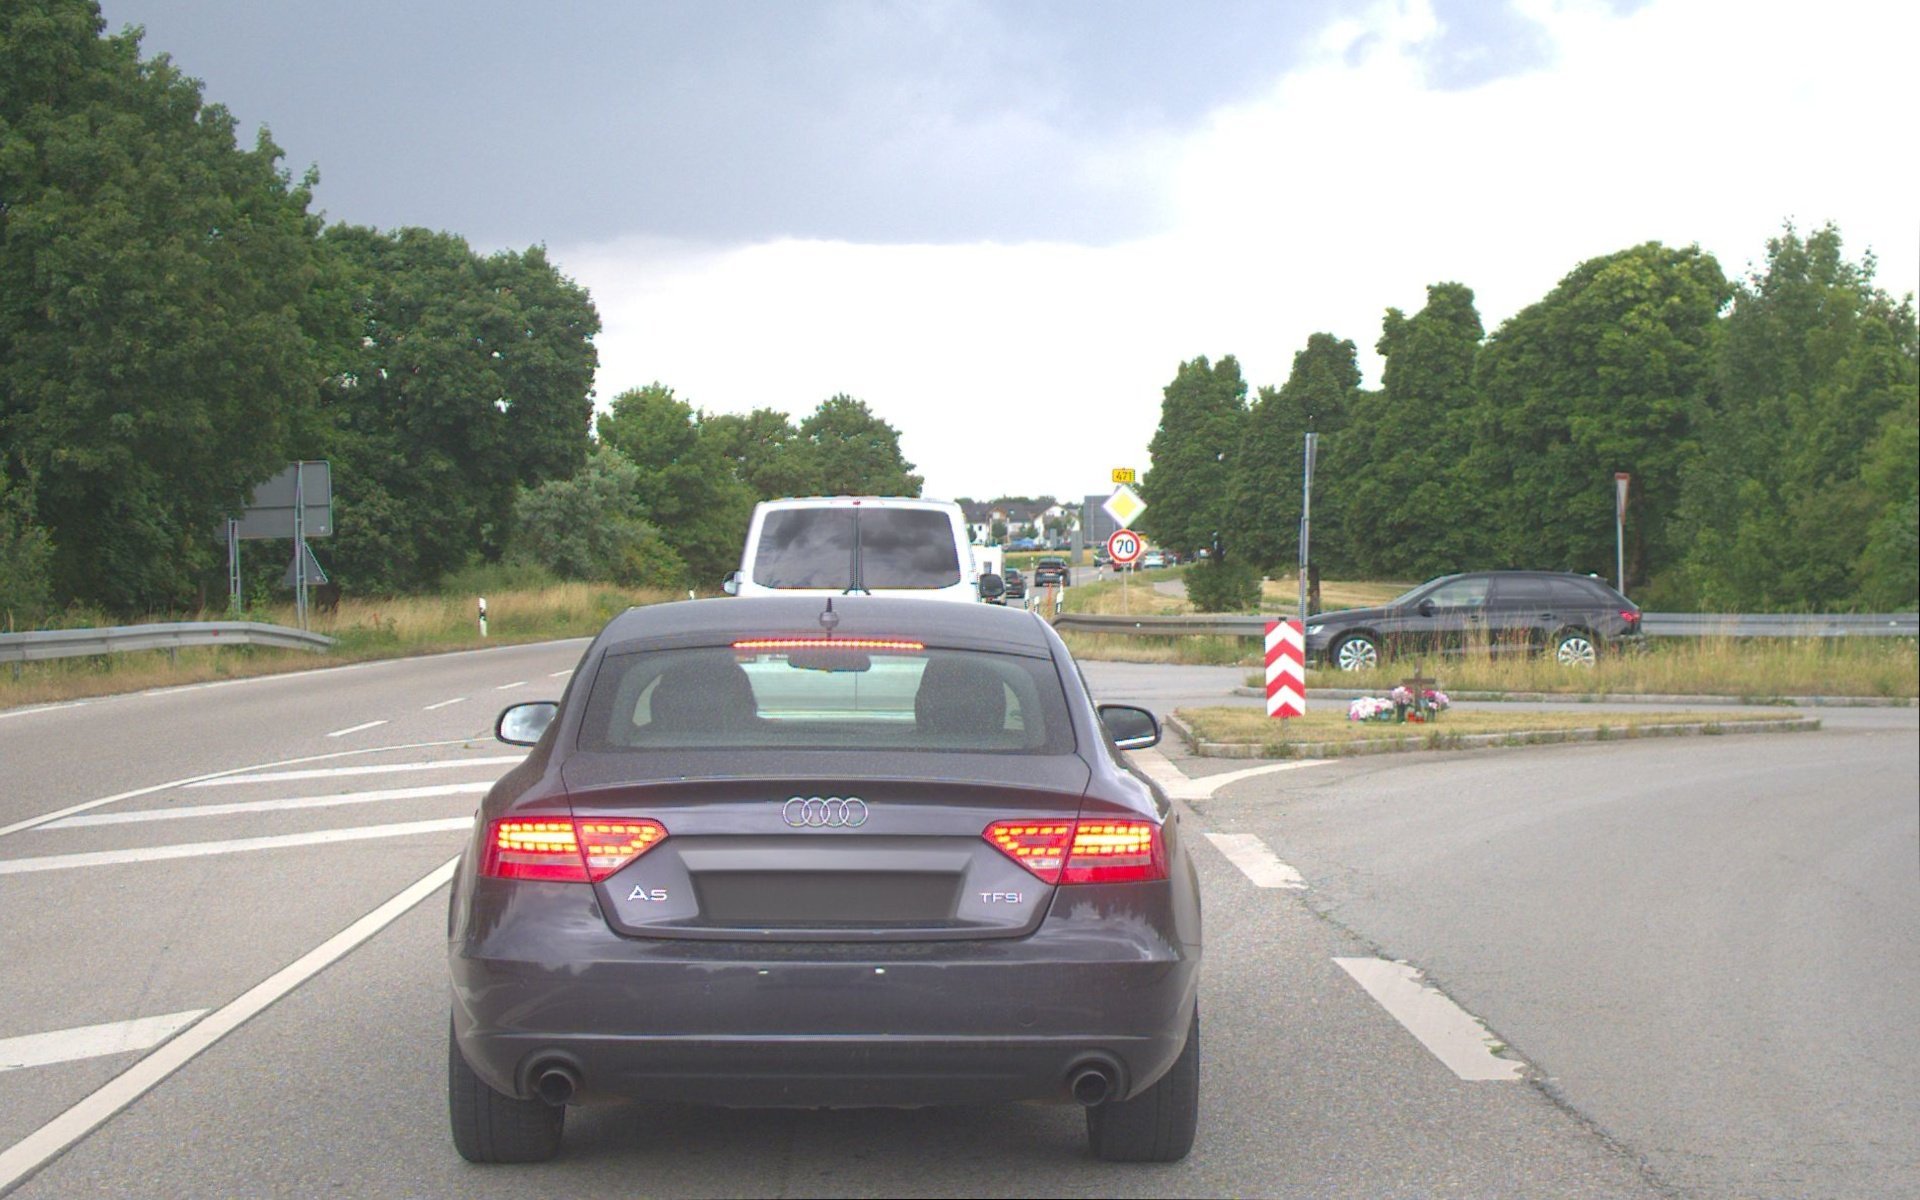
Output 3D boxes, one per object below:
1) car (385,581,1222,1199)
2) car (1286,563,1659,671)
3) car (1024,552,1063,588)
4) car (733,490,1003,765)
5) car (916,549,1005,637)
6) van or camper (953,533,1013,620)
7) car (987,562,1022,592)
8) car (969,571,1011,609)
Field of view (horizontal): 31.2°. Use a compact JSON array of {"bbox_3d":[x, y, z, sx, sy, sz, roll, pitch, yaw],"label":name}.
[{"bbox_3d":[-0.359,0.667,9.377,1.783,1.372,4.000,1,1,-1],"label":"car"},{"bbox_3d":[6.642,0.209,44.904,4.596,1.369,1.826,0,1,0],"label":"car"},{"bbox_3d":[4.796,-1.724,197.644,1.993,2.007,4.000,1,1,-1],"label":"car"},{"bbox_3d":[-0.659,0.157,25.673,1.838,1.876,4.000,1,1,-1],"label":"car"},{"bbox_3d":[0.038,-0.184,83.939,1.994,2.081,4.000,0,0,2],"label":"car"},{"bbox_3d":[0.978,-0.977,140.425,2.340,3.469,5.718,0,0,2],"label":"van or camper"},{"bbox_3d":[2.182,-1.139,169.380,1.719,1.446,4.000,1,1,1],"label":"car"},{"bbox_3d":[1.099,-0.381,124.606,1.258,1.349,3.465,0,0,5],"label":"car"}]
